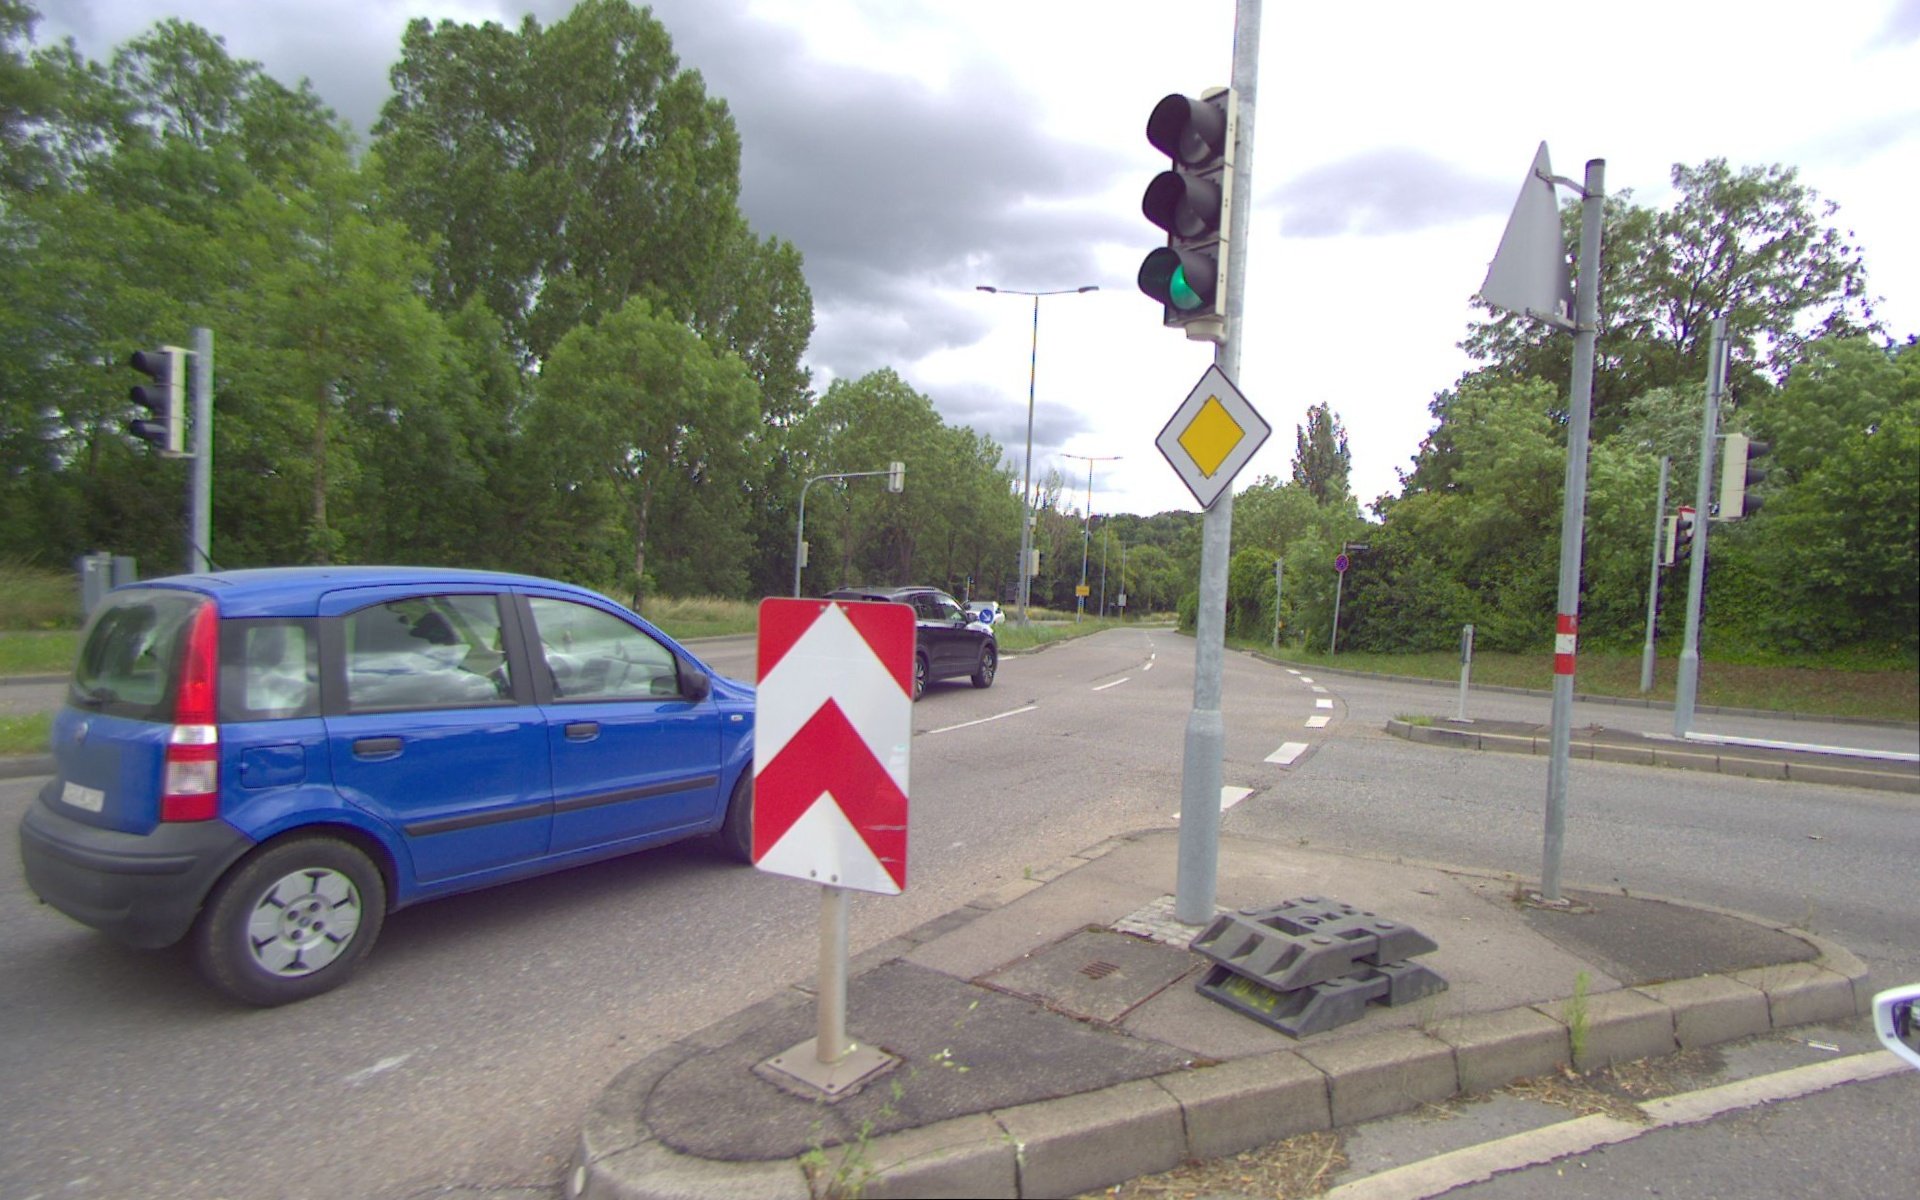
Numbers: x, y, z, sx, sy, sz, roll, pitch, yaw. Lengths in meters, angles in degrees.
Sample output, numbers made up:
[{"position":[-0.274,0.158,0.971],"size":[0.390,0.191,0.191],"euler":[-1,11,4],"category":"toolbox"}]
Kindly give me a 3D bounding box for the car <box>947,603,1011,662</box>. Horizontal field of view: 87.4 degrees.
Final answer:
[{"position":[0.864,1.284,42.257],"size":[1.896,2.021,4.324],"euler":[4,3,11],"category":"car"}]

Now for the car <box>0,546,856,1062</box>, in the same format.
[{"position":[-2.184,0.609,4.801],"size":[1.522,1.527,3.370],"euler":[2,0,34],"category":"car"}]

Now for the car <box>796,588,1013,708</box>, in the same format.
[{"position":[-0.690,0.629,15.090],"size":[1.630,1.527,3.766],"euler":[1,0,26],"category":"car"}]

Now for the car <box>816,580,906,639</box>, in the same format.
[{"position":[-3.514,0.275,36.515],"size":[2.041,1.783,4.324],"euler":[4,3,11],"category":"car"}]
